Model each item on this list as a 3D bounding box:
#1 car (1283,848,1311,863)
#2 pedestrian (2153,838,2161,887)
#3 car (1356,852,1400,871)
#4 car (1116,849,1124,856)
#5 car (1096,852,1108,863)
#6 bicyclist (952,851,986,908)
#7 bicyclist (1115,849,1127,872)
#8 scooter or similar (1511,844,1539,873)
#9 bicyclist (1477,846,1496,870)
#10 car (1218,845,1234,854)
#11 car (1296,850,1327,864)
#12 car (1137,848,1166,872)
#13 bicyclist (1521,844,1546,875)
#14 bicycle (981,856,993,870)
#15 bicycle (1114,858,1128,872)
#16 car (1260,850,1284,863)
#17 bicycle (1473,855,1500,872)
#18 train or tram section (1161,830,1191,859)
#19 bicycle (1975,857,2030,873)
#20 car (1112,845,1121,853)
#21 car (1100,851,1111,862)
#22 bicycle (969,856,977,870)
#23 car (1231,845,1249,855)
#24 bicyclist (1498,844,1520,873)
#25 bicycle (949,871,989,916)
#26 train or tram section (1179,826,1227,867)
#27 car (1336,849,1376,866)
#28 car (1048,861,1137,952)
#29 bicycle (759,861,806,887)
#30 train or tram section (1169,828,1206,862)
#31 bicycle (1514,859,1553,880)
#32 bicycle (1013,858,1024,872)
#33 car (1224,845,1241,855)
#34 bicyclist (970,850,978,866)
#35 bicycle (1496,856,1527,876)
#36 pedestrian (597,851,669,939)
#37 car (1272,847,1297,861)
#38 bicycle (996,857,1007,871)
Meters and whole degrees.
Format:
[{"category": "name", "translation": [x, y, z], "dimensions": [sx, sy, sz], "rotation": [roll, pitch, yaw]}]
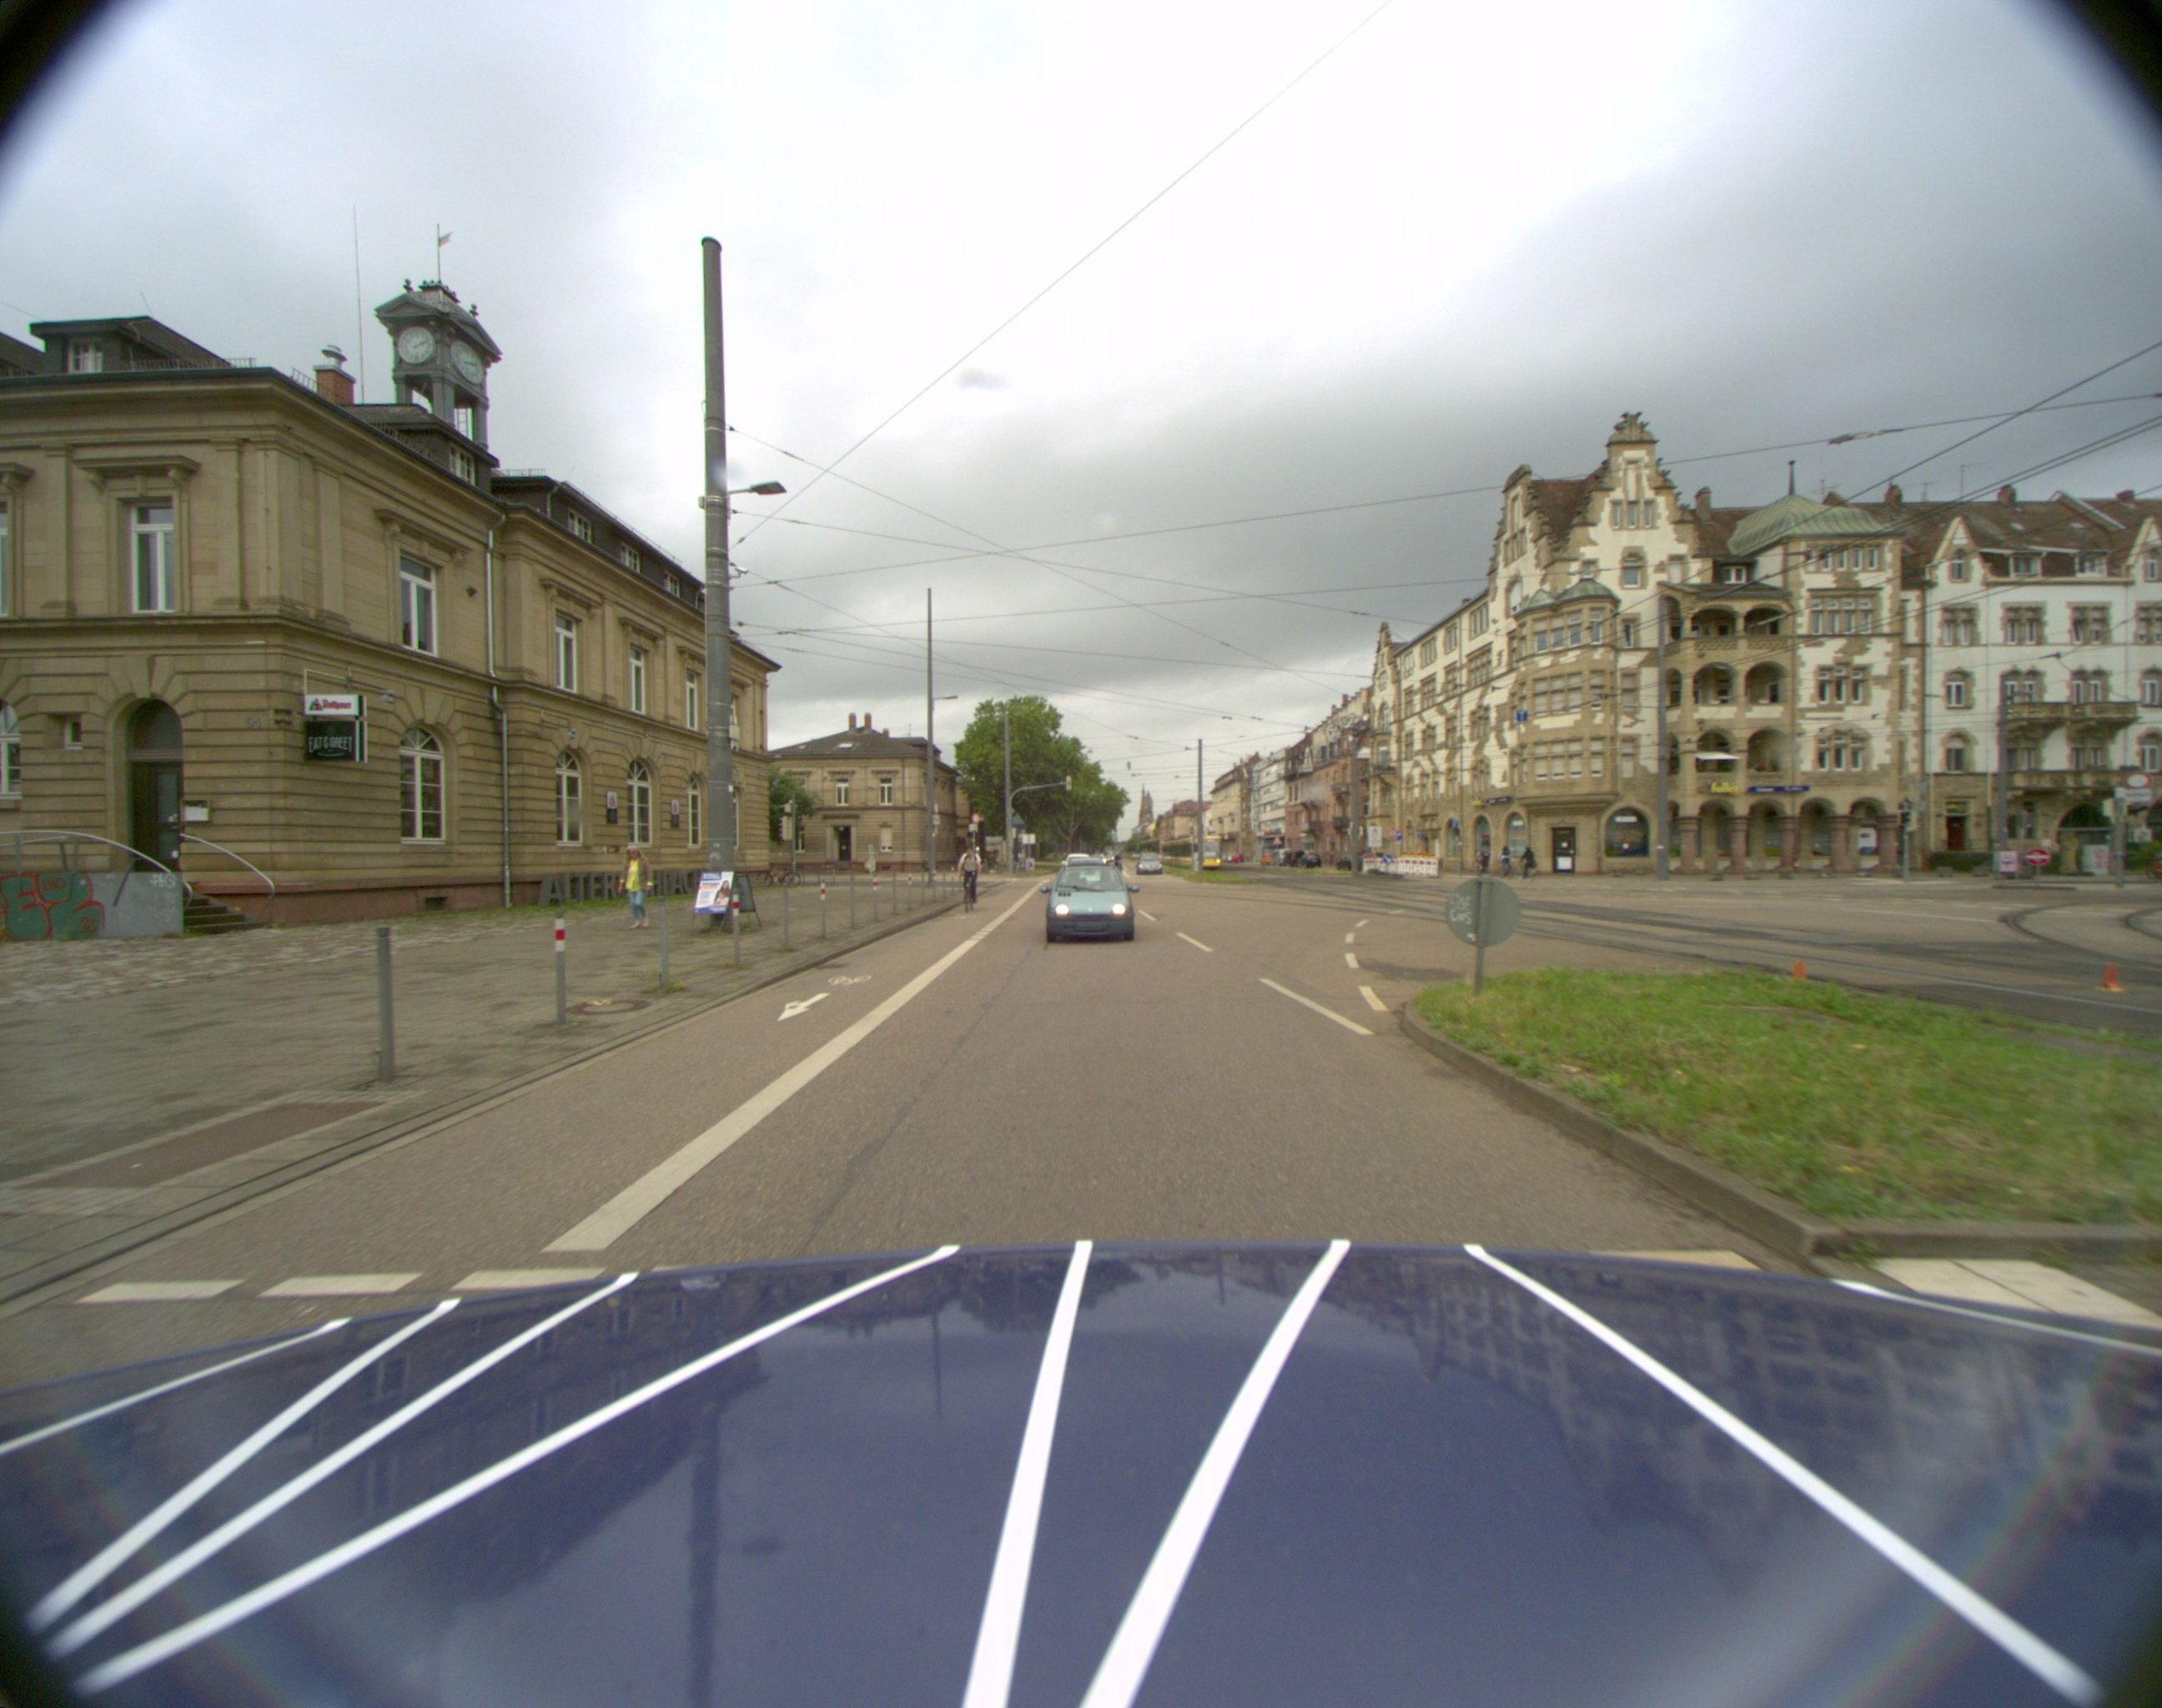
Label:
[{"category": "car", "translation": [24.290, 0.117, 85.617], "dimensions": [1.999, 1.587, 3.999], "rotation": [0, 1, -1]}, {"category": "pedestrian", "translation": [37.013, 0.288, 25.646], "dimensions": [0.608, 1.677, 0.704], "rotation": [0, 2, 0]}, {"category": "car", "translation": [24.133, 0.587, 61.846], "dimensions": [1.999, 1.434, 3.999], "rotation": [0, 1, -1]}, {"category": "car", "translation": [10.766, -0.392, 210.713], "dimensions": [1.998, 2.002, 3.999], "rotation": [0, 1, 0]}, {"category": "car", "translation": [2.647, 0.398, 95.598], "dimensions": [1.546, 1.336, 3.796], "rotation": [0, 0, 1]}, {"category": "bicyclist", "translation": [-3.240, 0.707, 22.035], "dimensions": [0.812, 1.591, 1.189], "rotation": [0, 1, -1]}, {"category": "bicyclist", "translation": [2.791, 0.444, 53.402], "dimensions": [0.812, 1.587, 0.890], "rotation": [0, -1, 0]}, {"category": "scooter or similar", "translation": [26.479, 0.251, 45.318], "dimensions": [0.565, 1.706, 1.830], "rotation": [0, 1, 0]}, {"category": "bicyclist", "translation": [24.419, 0.215, 45.781], "dimensions": [0.708, 1.436, 0.973], "rotation": [0, 0, 5]}, {"category": "car", "translation": [25.835, -0.797, 135.397], "dimensions": [1.999, 1.587, 3.999], "rotation": [0, 1, -1]}, {"category": "car", "translation": [24.109, 0.308, 79.590], "dimensions": [1.999, 1.434, 3.999], "rotation": [0, 1, -1]}, {"category": "car", "translation": [5.244, 0.420, 56.965], "dimensions": [1.869, 1.630, 3.775], "rotation": [0, 1, 0]}, {"category": "bicyclist", "translation": [22.333, 0.253, 37.546], "dimensions": [0.751, 1.511, 0.765], "rotation": [0, -1, -3]}, {"category": "bicycle", "translation": [-7.490, 0.702, 60.821], "dimensions": [0.718, 1.062, 1.699], "rotation": [0, 1, 0]}, {"category": "bicycle", "translation": [2.801, 0.775, 53.307], "dimensions": [0.812, 0.939, 2.147], "rotation": [0, -1, 0]}, {"category": "car", "translation": [24.824, 0.301, 98.938], "dimensions": [1.999, 1.587, 3.999], "rotation": [0, 1, -1]}, {"category": "bicycle", "translation": [24.425, 0.553, 45.834], "dimensions": [0.708, 1.031, 2.023], "rotation": [0, 0, 5]}, {"category": "train or tram section", "translation": [12.071, -1.297, 97.814], "dimensions": [2.651, 3.418, 13.618], "rotation": [0, 1, 2]}, {"category": "bicycle", "translation": [45.673, 0.559, 37.681], "dimensions": [0.561, 0.734, 1.803], "rotation": [0, 1, 2]}, {"category": "car", "translation": [8.747, -1.210, 186.658], "dimensions": [1.998, 2.002, 3.999], "rotation": [0, 1, 0]}, {"category": "car", "translation": [3.404, 0.361, 105.746], "dimensions": [1.534, 1.464, 3.353], "rotation": [1, 1, 3]}, {"category": "bicycle", "translation": [-9.522, 0.750, 66.868], "dimensions": [0.677, 1.158, 2.112], "rotation": [0, 1, -7]}, {"category": "car", "translation": [25.927, -0.619, 123.874], "dimensions": [1.999, 1.587, 3.999], "rotation": [0, 1, -1]}, {"category": "bicyclist", "translation": [23.654, 0.254, 42.012], "dimensions": [0.723, 1.596, 0.860], "rotation": [0, 0, 4]}, {"category": "bicycle", "translation": [-3.235, 1.124, 22.138], "dimensions": [0.814, 1.163, 2.276], "rotation": [0, 1, 0]}, {"category": "train or tram section", "translation": [11.118, -0.727, 70.620], "dimensions": [2.651, 3.418, 13.618], "rotation": [0, 1, 2]}, {"category": "car", "translation": [24.102, 0.268, 66.658], "dimensions": [1.999, 1.434, 3.999], "rotation": [0, 1, -1]}, {"category": "car", "translation": [0.286, 0.928, 14.932], "dimensions": [1.534, 1.464, 3.353], "rotation": [1, 1, 3]}, {"category": "bicycle", "translation": [-13.049, 0.887, 33.233], "dimensions": [1.859, 1.072, 0.546], "rotation": [2, 1, -17]}, {"category": "train or tram section", "translation": [11.644, -1.051, 84.194], "dimensions": [2.651, 3.418, 13.618], "rotation": [0, 1, 2]}, {"category": "bicycle", "translation": [22.340, 0.759, 37.549], "dimensions": [0.751, 1.030, 1.915], "rotation": [0, -1, -3]}, {"category": "bicycle", "translation": [-5.000, 0.833, 60.461], "dimensions": [0.718, 1.062, 1.699], "rotation": [0, 1, 0]}, {"category": "car", "translation": [25.948, -0.683, 130.311], "dimensions": [1.999, 1.587, 3.999], "rotation": [0, 1, -1]}, {"category": "bicyclist", "translation": [-9.460, 0.310, 67.040], "dimensions": [0.695, 1.392, 0.815], "rotation": [-1, 2, -11]}, {"category": "bicycle", "translation": [23.638, 0.655, 41.763], "dimensions": [0.723, 1.030, 1.910], "rotation": [0, -1, 4]}, {"category": "pedestrian", "translation": [-8.910, 0.786, 15.140], "dimensions": [0.720, 1.669, 1.000], "rotation": [0, 2, 12]}, {"category": "car", "translation": [24.652, -0.008, 92.164], "dimensions": [1.999, 1.587, 3.999], "rotation": [0, 1, -1]}, {"category": "bicycle", "translation": [-6.320, 0.768, 60.414], "dimensions": [0.718, 1.062, 1.699], "rotation": [0, 1, 0]}]
